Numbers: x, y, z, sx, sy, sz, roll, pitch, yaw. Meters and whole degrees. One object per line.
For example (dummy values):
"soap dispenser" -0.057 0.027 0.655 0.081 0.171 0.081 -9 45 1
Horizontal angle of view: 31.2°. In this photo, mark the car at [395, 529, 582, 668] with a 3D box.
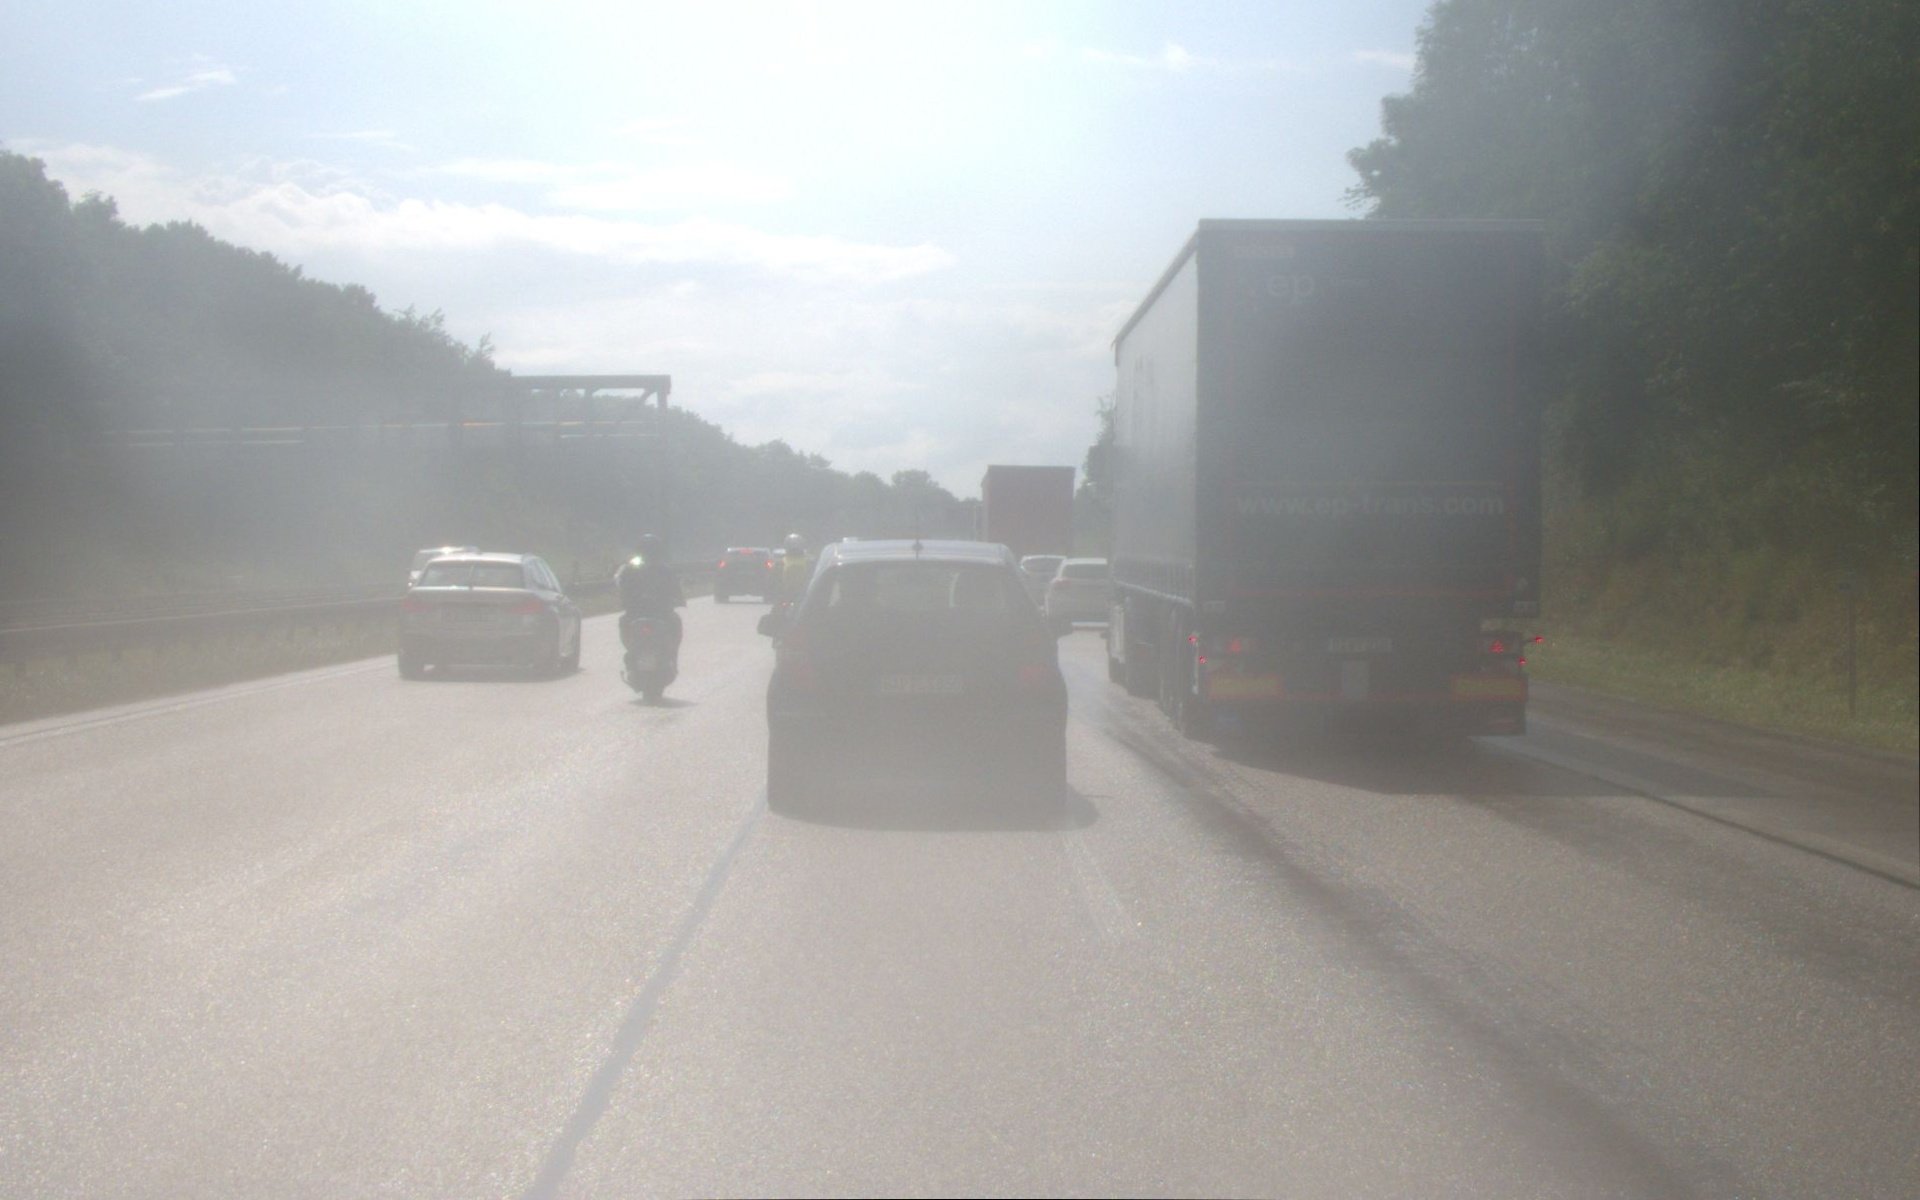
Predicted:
"car" -5.677 -0.052 41.857 1.758 1.589 4.331 0 1 -1

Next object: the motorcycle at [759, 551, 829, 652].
"motorcycle" -2.139 0.008 44.540 0.819 1.258 2.118 1 1 -1

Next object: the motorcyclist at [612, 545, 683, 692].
"motorcyclist" -3.129 0.178 34.449 0.670 1.437 1.020 1 0 -4

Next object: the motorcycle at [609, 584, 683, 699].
"motorcycle" -3.131 0.400 34.432 0.676 1.083 1.982 1 1 -4

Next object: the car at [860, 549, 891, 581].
"car" -5.488 -2.278 223.702 1.993 2.007 4.000 1 0 -1

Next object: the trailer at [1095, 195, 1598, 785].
"trailer" 3.106 -0.905 32.223 3.088 4.298 14.105 0 1 0

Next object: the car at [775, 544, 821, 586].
"car" -6.263 -1.348 132.972 1.675 1.591 3.437 0 1 -1

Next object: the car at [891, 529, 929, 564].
"car" -2.207 -2.355 151.130 1.631 1.485 3.437 0 1 -1

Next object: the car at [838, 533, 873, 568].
"car" -6.136 -2.907 202.587 1.993 2.007 4.000 1 0 -1

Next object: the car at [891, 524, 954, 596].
"car" -1.057 -1.104 94.684 1.675 1.929 3.774 0 1 -1

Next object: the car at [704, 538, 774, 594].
"car" -6.564 -1.017 102.466 1.893 1.622 4.195 0 1 -1

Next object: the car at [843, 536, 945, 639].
"car" -1.350 -0.273 69.706 1.993 2.007 4.000 1 0 -1

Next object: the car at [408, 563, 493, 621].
"car" -15.472 -0.272 104.669 1.908 1.673 4.969 -1 1 -1

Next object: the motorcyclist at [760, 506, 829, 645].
"motorcyclist" -2.141 -0.318 44.529 0.821 1.754 1.390 1 0 -1

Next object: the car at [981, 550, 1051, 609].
"car" 1.435 -0.541 88.910 1.675 1.485 3.437 0 1 -1

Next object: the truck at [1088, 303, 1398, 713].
"truck" 3.113 -1.003 39.406 3.052 4.310 5.886 1 0 0

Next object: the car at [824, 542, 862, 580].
"car" -6.290 -2.102 185.249 1.993 2.007 4.000 1 0 -1

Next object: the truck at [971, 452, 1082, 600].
"truck" 2.002 -2.259 107.306 3.202 4.389 9.432 0 1 0

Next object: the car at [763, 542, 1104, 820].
"car" -0.195 0.426 21.606 1.915 1.560 4.314 0 1 -1

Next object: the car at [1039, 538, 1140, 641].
"car" 2.597 -0.230 69.701 1.849 2.007 4.087 1 0 0

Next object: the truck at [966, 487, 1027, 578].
"truck" 1.883 -3.534 183.586 2.882 4.671 12.659 1 1 -1
